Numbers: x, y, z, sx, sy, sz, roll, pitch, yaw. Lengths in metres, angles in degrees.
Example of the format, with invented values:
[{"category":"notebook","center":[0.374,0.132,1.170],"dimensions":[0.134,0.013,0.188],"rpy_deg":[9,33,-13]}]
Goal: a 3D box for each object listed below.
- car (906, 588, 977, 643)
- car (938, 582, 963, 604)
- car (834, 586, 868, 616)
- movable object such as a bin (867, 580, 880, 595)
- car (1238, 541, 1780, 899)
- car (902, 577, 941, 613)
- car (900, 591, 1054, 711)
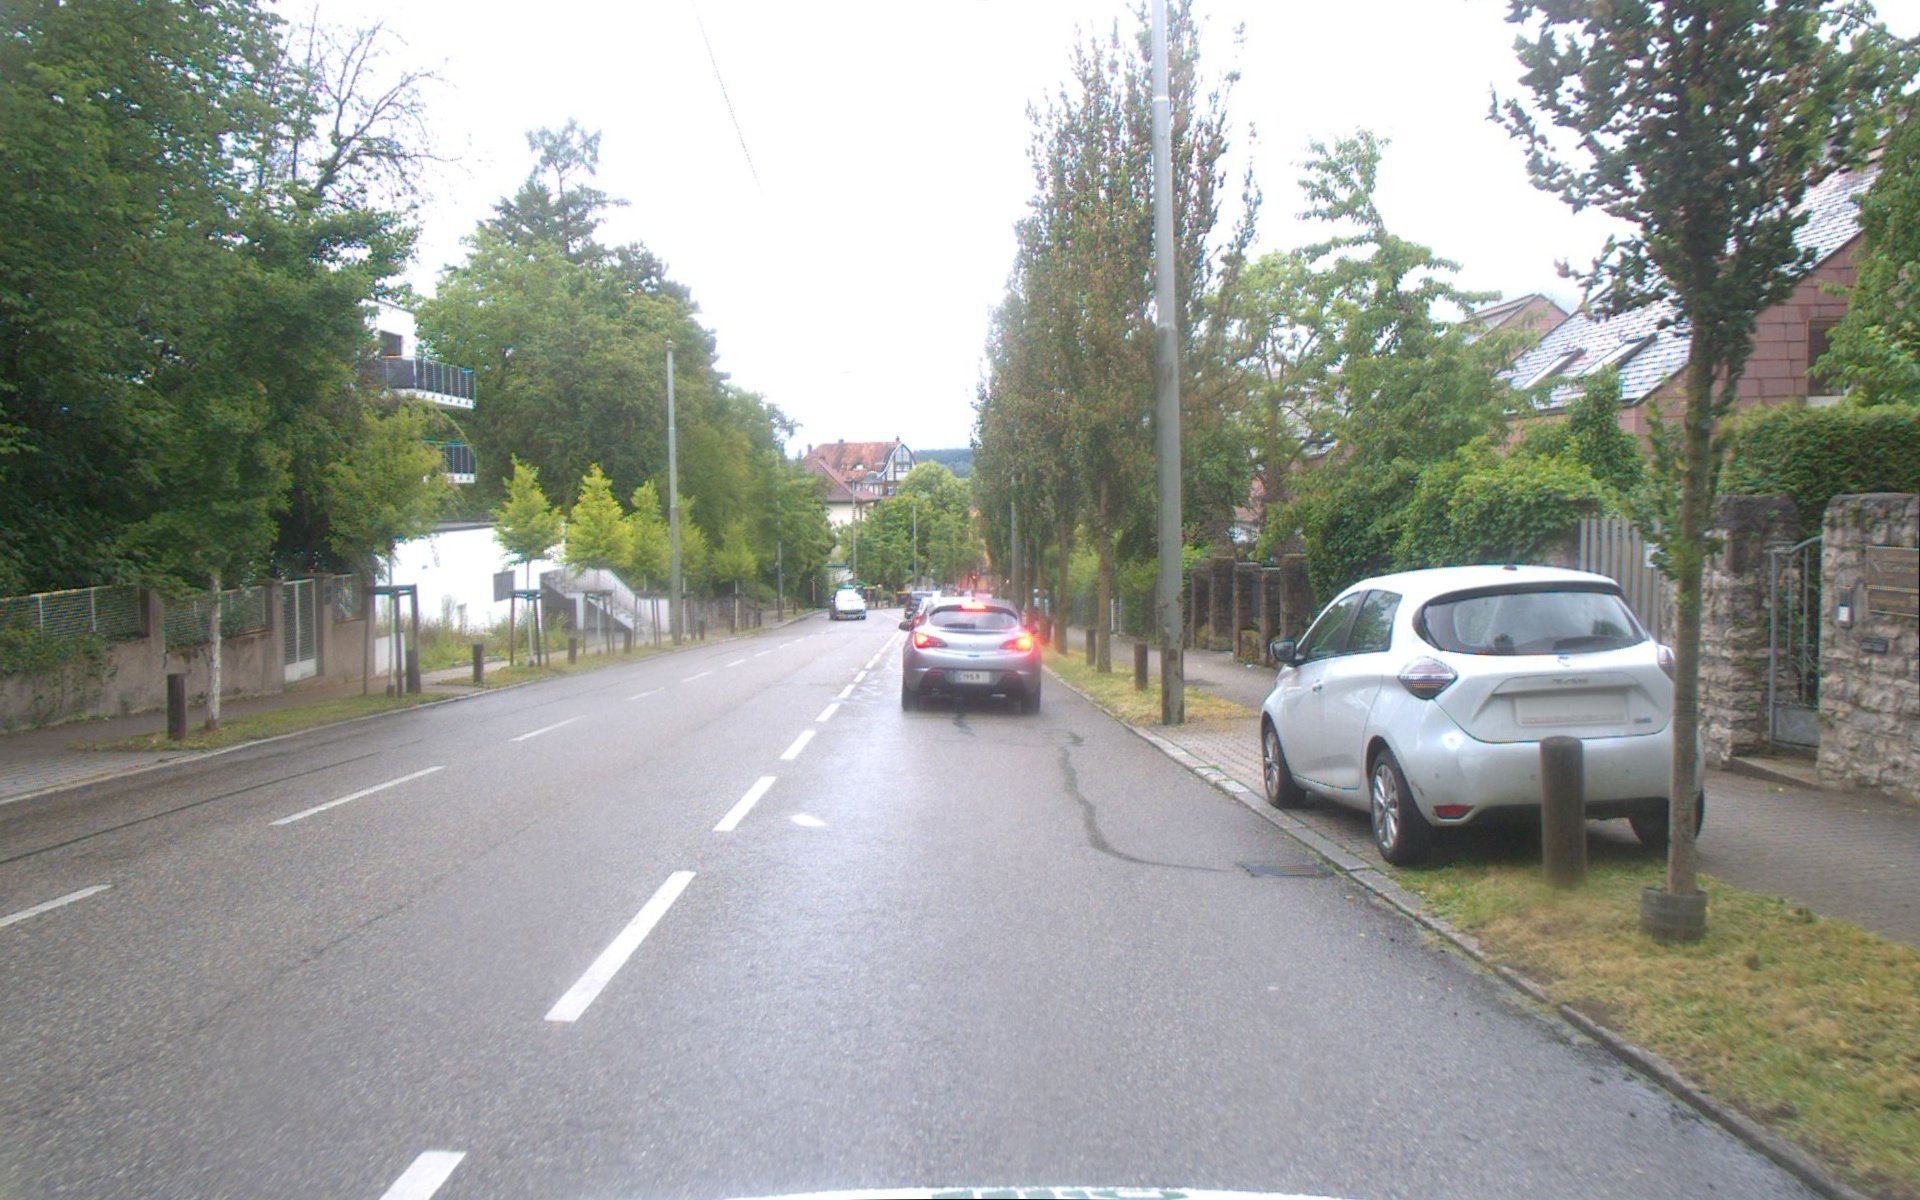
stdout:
[{"category":"car","center":[-0.444,0.368,44.092],"dimensions":[1.760,1.346,4.001],"rpy_deg":[0,1,1]},{"category":"car","center":[-0.768,-0.604,134.377],"dimensions":[1.717,1.679,4.002],"rpy_deg":[2,1,4]},{"category":"car","center":[-5.978,0.048,91.048],"dimensions":[1.726,1.512,3.998],"rpy_deg":[-3,0,-2]},{"category":"movable object such as a bin","center":[-8.237,-1.191,157.721],"dimensions":[1.245,1.411,0.489],"rpy_deg":[0,2,4]},{"category":"car","center":[3.064,0.560,10.191],"dimensions":[1.788,1.658,3.998],"rpy_deg":[-3,1,-3]},{"category":"car","center":[-2.137,-0.290,91.705],"dimensions":[1.731,1.812,3.979],"rpy_deg":[2,2,4]},{"category":"car","center":[0.181,0.624,22.481],"dimensions":[1.905,1.457,3.883],"rpy_deg":[0,1,-1]}]
